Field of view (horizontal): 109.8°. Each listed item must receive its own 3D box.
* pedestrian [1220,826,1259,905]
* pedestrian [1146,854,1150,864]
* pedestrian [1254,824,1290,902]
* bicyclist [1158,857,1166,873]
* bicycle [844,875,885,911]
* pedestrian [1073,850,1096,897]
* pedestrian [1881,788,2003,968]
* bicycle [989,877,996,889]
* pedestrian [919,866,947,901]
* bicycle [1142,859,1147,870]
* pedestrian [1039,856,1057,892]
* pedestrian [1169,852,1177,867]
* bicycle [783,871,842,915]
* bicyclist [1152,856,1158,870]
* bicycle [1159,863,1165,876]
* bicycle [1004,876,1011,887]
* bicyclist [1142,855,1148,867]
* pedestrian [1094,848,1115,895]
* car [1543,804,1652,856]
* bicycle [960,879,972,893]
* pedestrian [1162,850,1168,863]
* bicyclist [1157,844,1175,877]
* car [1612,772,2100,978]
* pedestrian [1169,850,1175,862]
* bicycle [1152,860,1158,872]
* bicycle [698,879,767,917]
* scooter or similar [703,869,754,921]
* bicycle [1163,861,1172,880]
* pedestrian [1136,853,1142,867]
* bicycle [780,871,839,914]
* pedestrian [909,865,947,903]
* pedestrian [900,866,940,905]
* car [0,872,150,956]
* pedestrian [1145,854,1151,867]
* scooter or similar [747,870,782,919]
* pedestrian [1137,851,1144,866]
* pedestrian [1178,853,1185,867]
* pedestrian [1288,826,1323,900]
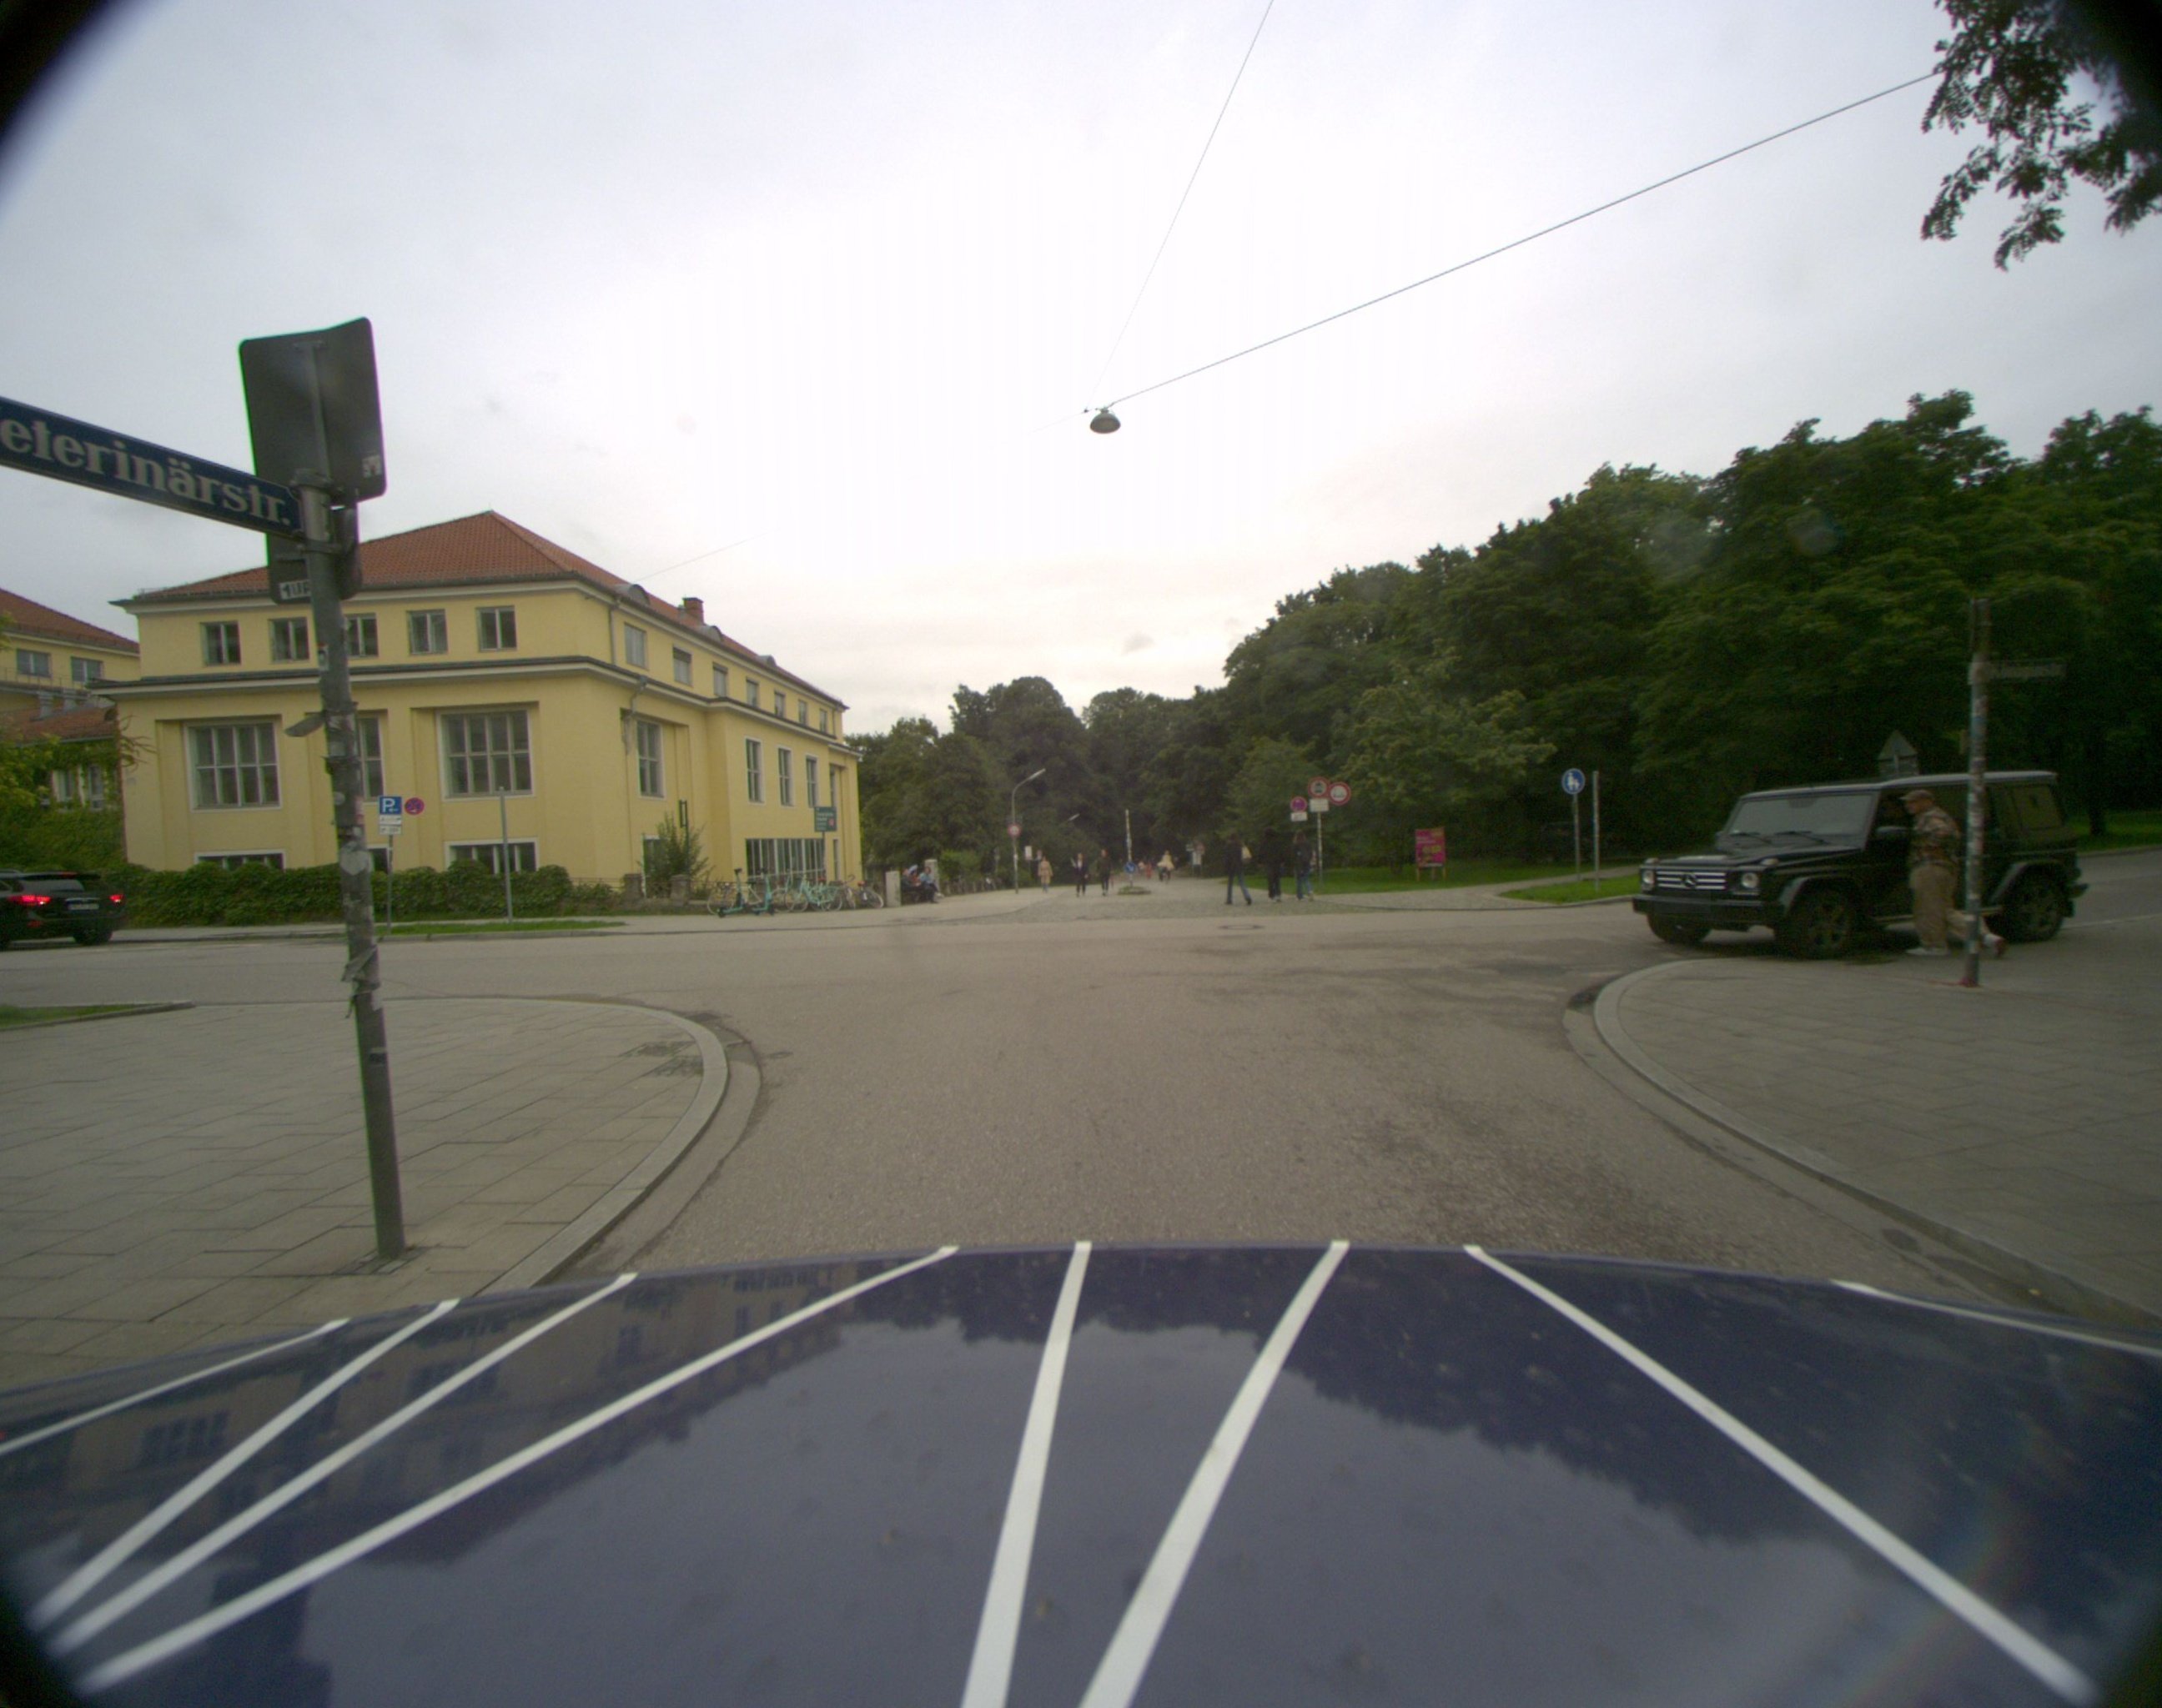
[{"bbox_3d":[3.794,0.278,18.240,0.751,1.822,1.115,-1,-1,4],"label":"pedestrian"},{"bbox_3d":[8.318,0.625,94.578,0.471,1.259,0.448,-2,3,4],"label":"pedestrian"},{"bbox_3d":[4.756,0.230,18.917,0.707,1.892,0.804,-1,-1,4],"label":"pedestrian"},{"bbox_3d":[6.948,0.981,65.295,0.563,1.366,0.762,-2,-1,4],"label":"bicyclist"},{"bbox_3d":[-6.571,1.175,23.132,0.307,1.032,1.657,0,-1,18],"label":"bicycle"},{"bbox_3d":[0.121,0.720,27.879,0.685,1.662,0.774,-4,-2,4],"label":"pedestrian"},{"bbox_3d":[8.947,0.250,7.925,0.560,1.788,0.641,-2,-1,22],"label":"pedestrian"},{"bbox_3d":[-5.046,1.673,43.329,0.215,0.671,0.910,0,-1,6],"label":"bicycle"},{"bbox_3d":[-5.358,1.071,27.595,0.887,1.227,0.550,-3,-2,-7],"label":"pedestrian"},{"bbox_3d":[6.970,1.097,82.930,0.464,1.054,1.761,-2,3,4],"label":"bicycle"},{"bbox_3d":[-1.598,0.984,36.719,0.653,1.676,0.976,-4,-2,4],"label":"pedestrian"},{"bbox_3d":[10.114,0.622,83.713,0.685,1.662,0.774,-4,-2,4],"label":"pedestrian"},{"bbox_3d":[-7.525,1.066,21.348,0.169,1.191,1.658,-1,-1,45],"label":"bicycle"},{"bbox_3d":[7.347,0.890,75.671,0.563,1.259,0.761,-2,3,4],"label":"bicyclist"},{"bbox_3d":[6.947,1.320,65.221,0.464,1.053,1.762,-2,-1,4],"label":"bicycle"},{"bbox_3d":[-4.639,1.734,47.853,0.242,0.653,0.909,0,-1,5],"label":"bicycle"},{"bbox_3d":[6.969,0.778,82.970,0.563,1.259,0.761,-2,3,4],"label":"bicyclist"},{"bbox_3d":[0.872,0.658,27.875,0.639,1.662,0.774,-4,-2,4],"label":"pedestrian"},{"bbox_3d":[23.400,-1.070,34.526,3.958,2.093,1.908,-2,2,34],"label":"car"},{"bbox_3d":[-5.488,1.533,36.342,0.215,0.671,0.910,0,-1,15],"label":"bicycle"},{"bbox_3d":[11.779,0.330,106.759,0.742,1.662,0.922,-4,-2,4],"label":"pedestrian"},{"bbox_3d":[4.720,0.358,42.122,0.856,1.792,0.767,-3,1,4],"label":"bicyclist"},{"bbox_3d":[9.045,0.146,9.045,4.421,1.990,1.933,-2,2,-11],"label":"car"},{"bbox_3d":[12.751,0.298,106.708,0.742,1.662,0.922,-4,-2,4],"label":"pedestrian"},{"bbox_3d":[7.363,1.158,75.692,0.464,1.054,1.761,-2,3,4],"label":"bicycle"},{"bbox_3d":[-9.332,1.161,20.376,1.656,0.987,0.248,0,-1,-20],"label":"bicycle"},{"bbox_3d":[-9.005,1.031,19.459,0.396,1.240,1.391,-1,0,13],"label":"scooter or similar"},{"bbox_3d":[4.810,0.905,42.199,0.483,1.035,1.947,-2,0,6],"label":"bicycle"},{"bbox_3d":[7.292,0.798,95.941,0.685,1.662,0.774,-4,-2,4],"label":"pedestrian"},{"bbox_3d":[-7.656,1.076,21.498,0.202,1.184,1.658,-1,-1,45],"label":"bicycle"},{"bbox_3d":[-5.417,1.066,26.945,1.178,1.285,0.639,-3,-2,-7],"label":"pedestrian"},{"bbox_3d":[-5.495,1.079,26.004,1.216,1.240,0.639,-3,-2,-7],"label":"pedestrian"},{"bbox_3d":[-24.221,1.334,17.028,4.620,1.698,1.937,-2,0,5],"label":"car"},{"bbox_3d":[8.571,0.859,96.850,0.685,1.662,0.774,-4,-2,4],"label":"pedestrian"},{"bbox_3d":[-8.152,1.029,19.543,1.114,1.206,0.324,-2,0,41],"label":"scooter or similar"},{"bbox_3d":[7.268,0.556,92.495,0.685,1.662,0.774,-4,-2,4],"label":"pedestrian"},{"bbox_3d":[12.004,0.723,90.985,0.685,1.662,0.774,-4,-2,4],"label":"pedestrian"},{"bbox_3d":[5.540,0.225,18.783,0.634,1.771,0.801,-1,-1,4],"label":"pedestrian"}]
